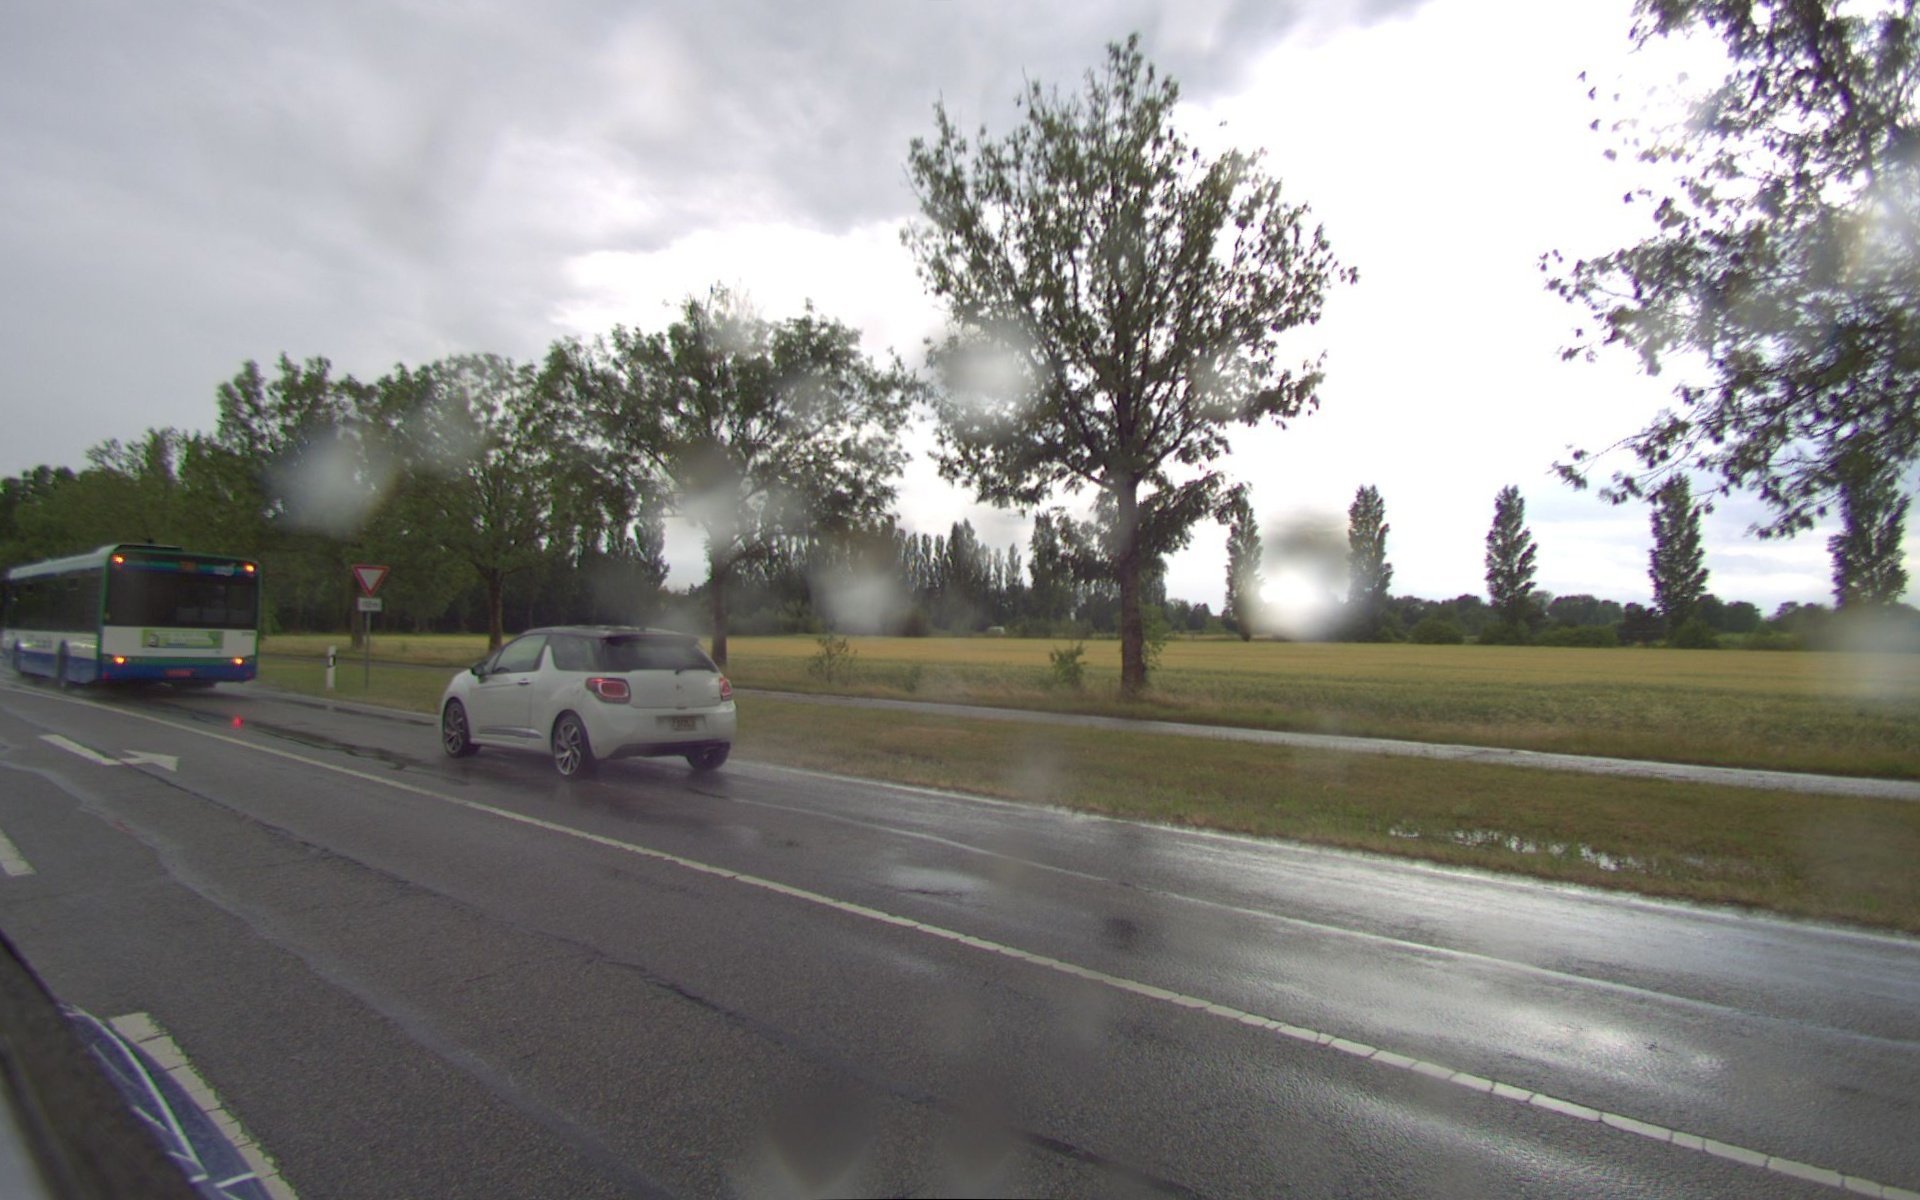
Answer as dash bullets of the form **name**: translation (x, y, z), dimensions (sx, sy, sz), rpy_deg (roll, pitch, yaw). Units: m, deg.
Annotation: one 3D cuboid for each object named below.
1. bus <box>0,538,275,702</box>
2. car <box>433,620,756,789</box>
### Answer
- **bus**: translation (-19.502, 0.471, 23.229), dimensions (12.465, 2.934, 2.920), rpy_deg (-1, -3, 40)
- **car**: translation (-3.872, 0.973, 10.517), dimensions (3.460, 1.461, 1.651), rpy_deg (-1, -4, 41)
